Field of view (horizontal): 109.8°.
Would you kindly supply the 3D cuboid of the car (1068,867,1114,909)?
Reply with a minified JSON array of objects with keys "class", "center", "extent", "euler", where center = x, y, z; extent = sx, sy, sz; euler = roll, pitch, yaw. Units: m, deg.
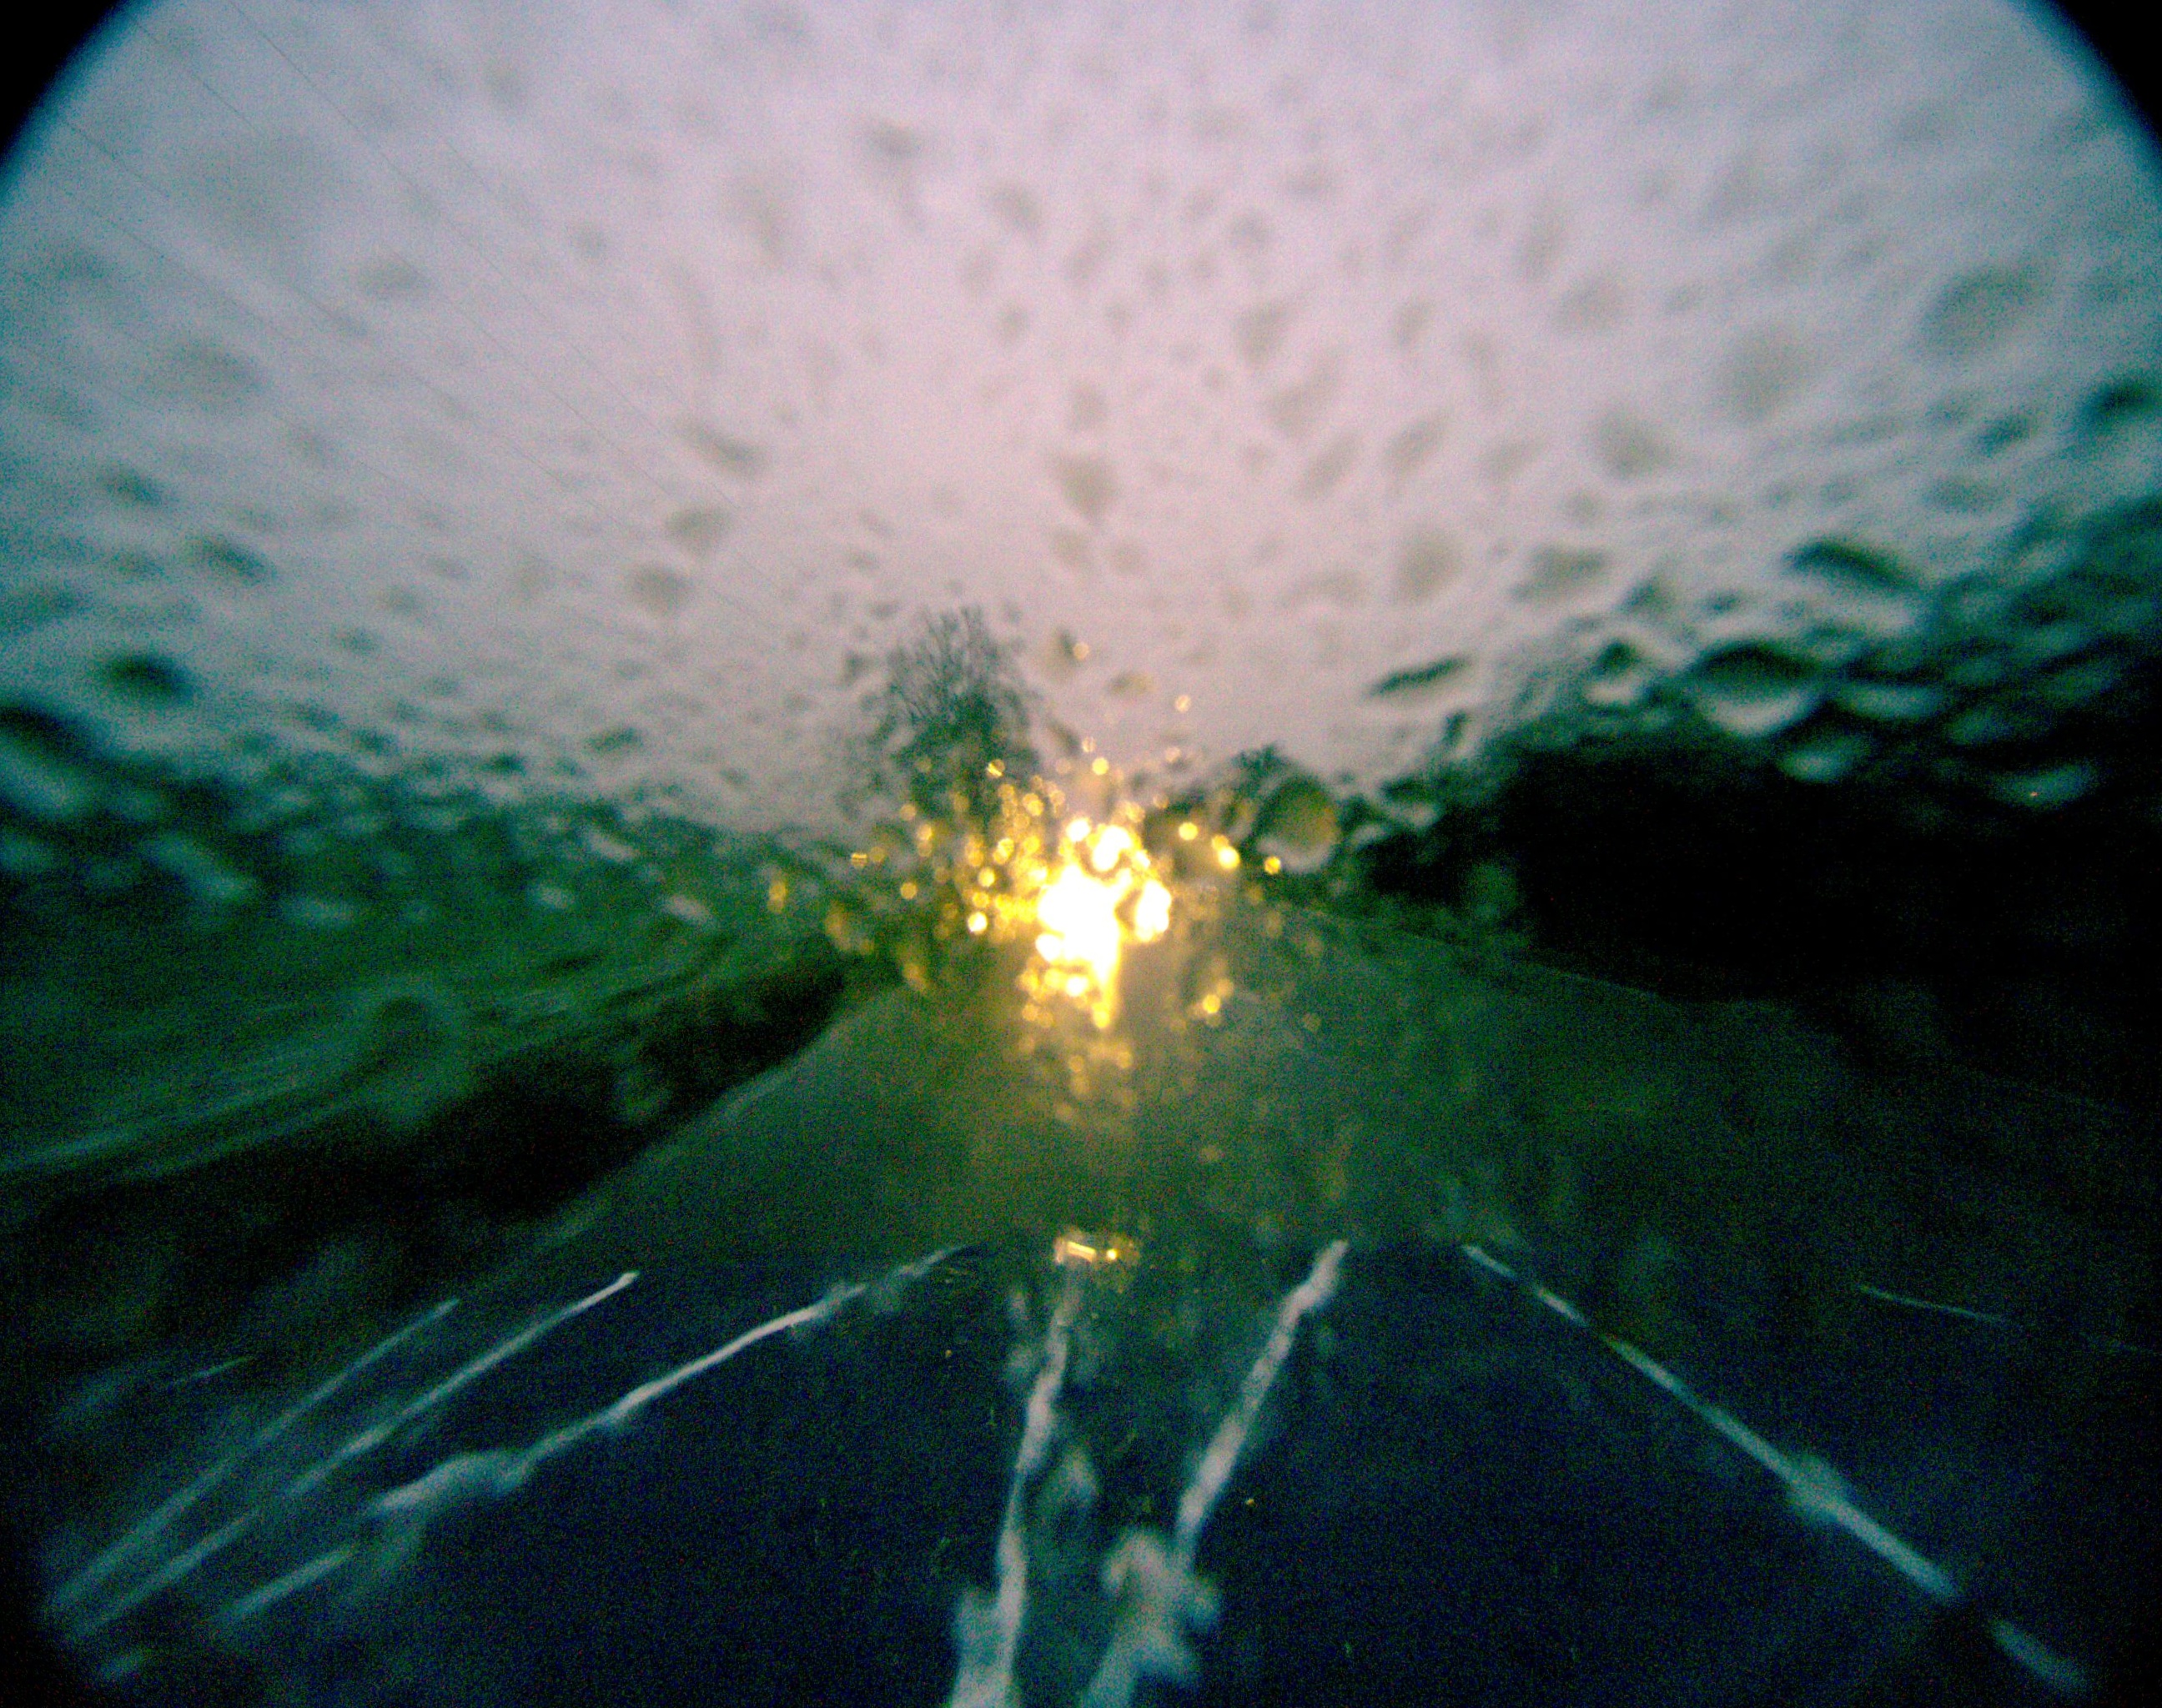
[{"class":"car","center":[0.458,1.528,35.409],"extent":[1.910,1.653,4.000],"euler":[-3,1,1]}]

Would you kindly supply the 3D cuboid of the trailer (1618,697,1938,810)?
[{"class":"trailer","center":[26.219,-3.537,29.844],"extent":[2.442,2.874,11.085],"euler":[-1,0,1]}]

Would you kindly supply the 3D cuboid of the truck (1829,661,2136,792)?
[{"class":"truck","center":[26.155,-3.534,22.515],"extent":[2.456,2.870,5.583],"euler":[-1,0,0]}]

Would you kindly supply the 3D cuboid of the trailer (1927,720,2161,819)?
[{"class":"trailer","center":[30.651,-2.447,20.735],"extent":[2.515,2.410,11.502],"euler":[-1,0,1]}]
